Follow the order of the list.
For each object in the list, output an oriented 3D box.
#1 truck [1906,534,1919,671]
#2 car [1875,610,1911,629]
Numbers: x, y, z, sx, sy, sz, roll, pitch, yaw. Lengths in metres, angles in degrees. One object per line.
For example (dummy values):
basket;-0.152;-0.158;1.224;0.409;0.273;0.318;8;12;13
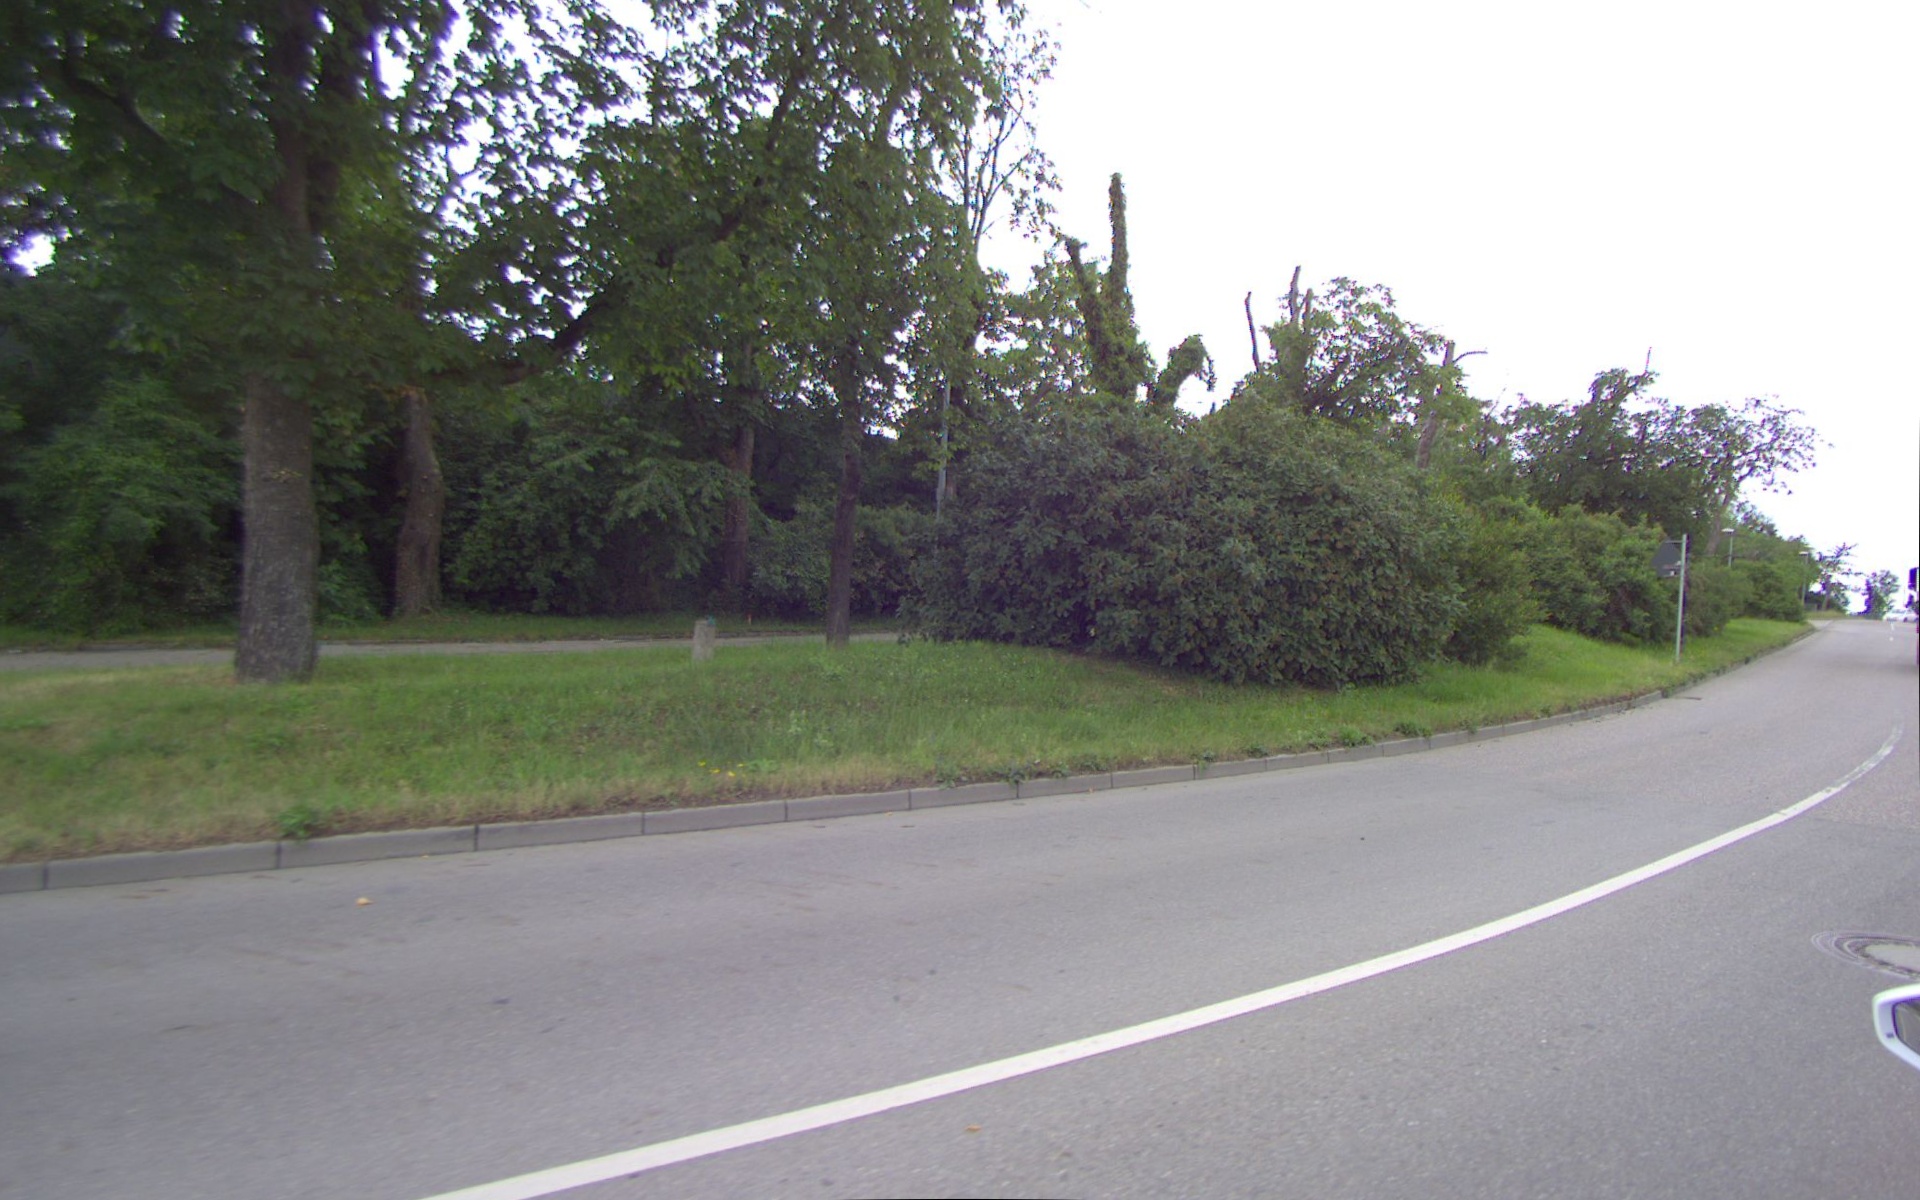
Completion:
truck;28.352;0.105;27.939;2.734;3.530;8.083;1;1;42
car;90.666;1.912;97.603;3.965;1.662;1.978;2;2;-38
